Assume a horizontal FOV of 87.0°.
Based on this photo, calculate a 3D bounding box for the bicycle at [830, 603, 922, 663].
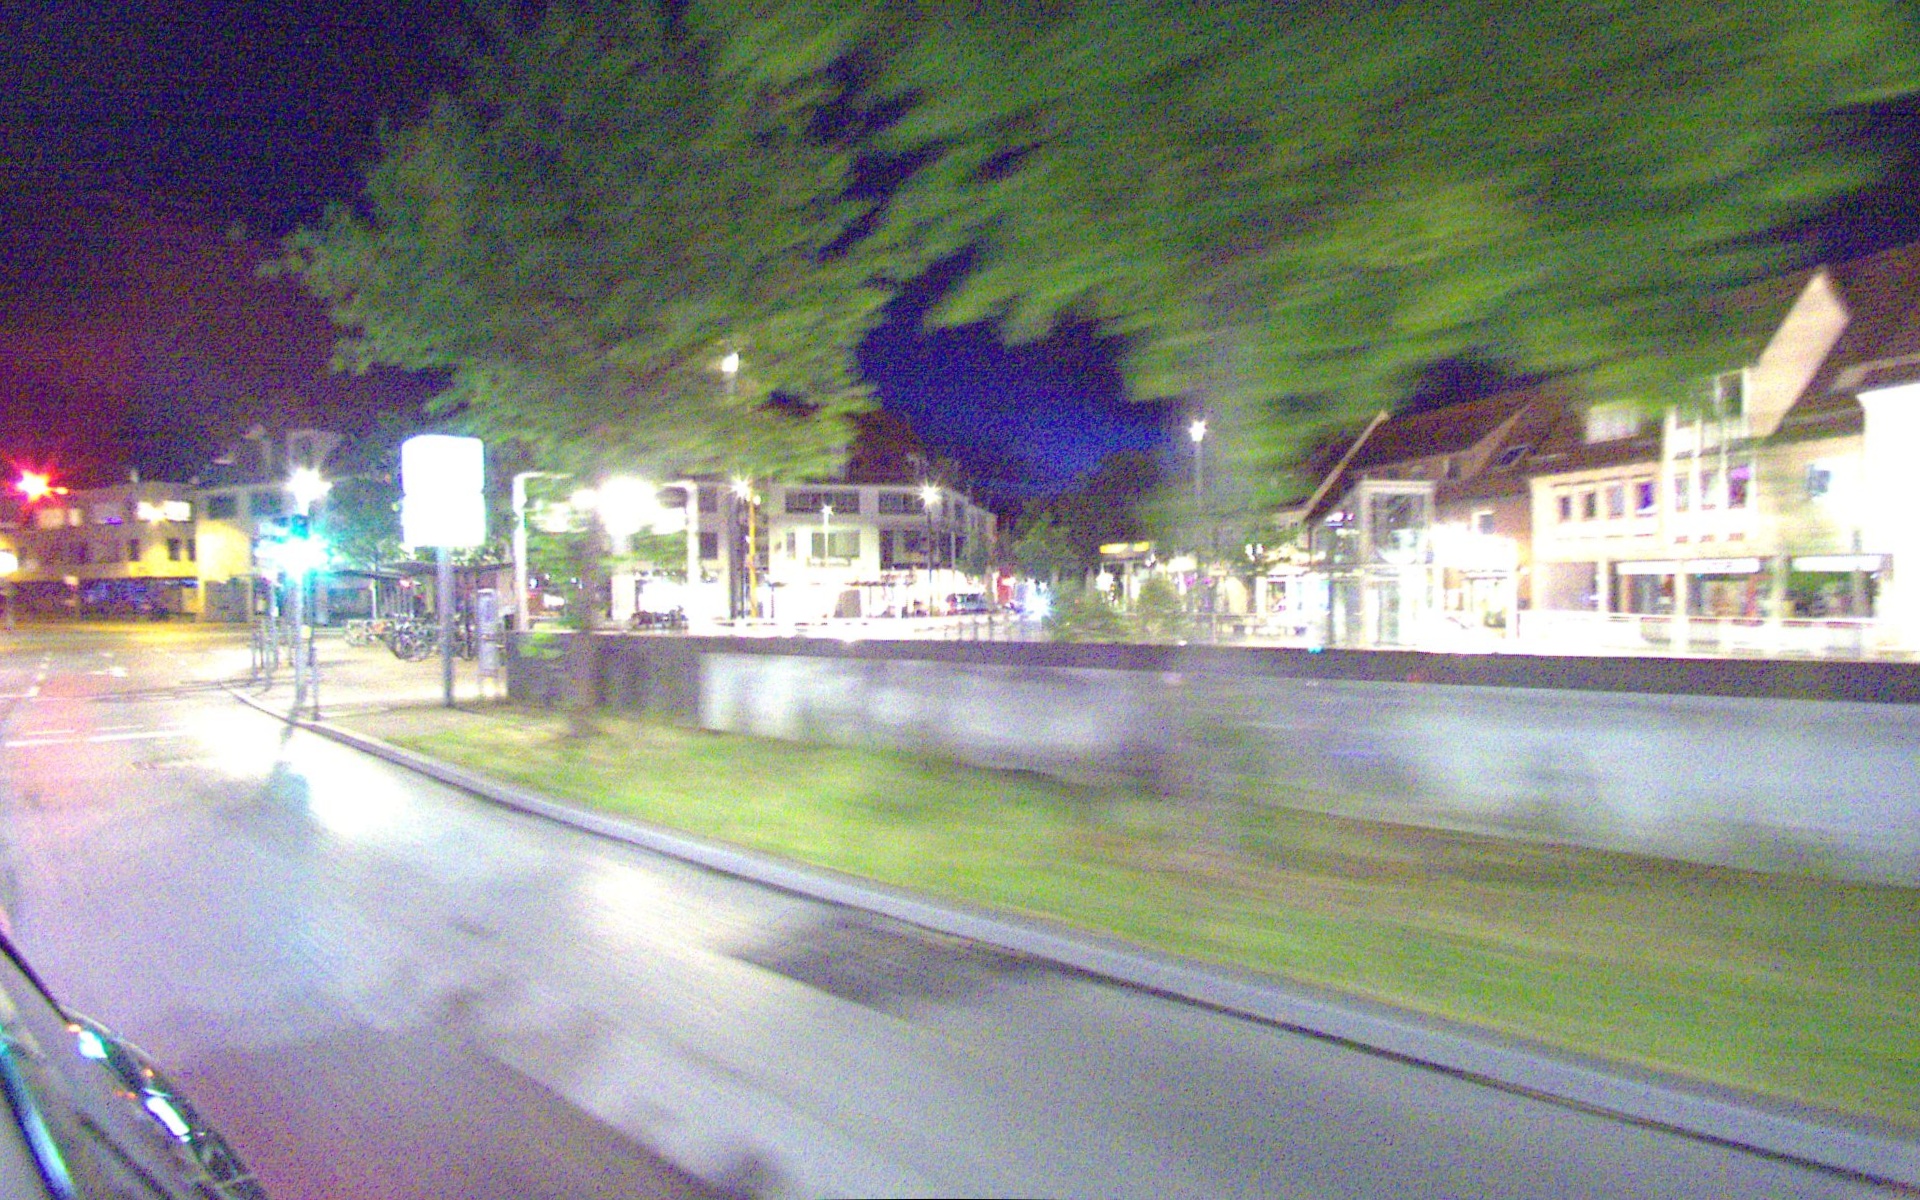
[{"bbox_3d":[-1.694,0.659,20.351,1.732,1.174,0.605,-1,-1,17],"label":"bicycle"}]

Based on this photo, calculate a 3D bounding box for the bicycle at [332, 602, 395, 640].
[{"bbox_3d":[-21.113,0.731,35.847,1.810,1.166,0.789,-4,3,-36],"label":"bicycle"}]

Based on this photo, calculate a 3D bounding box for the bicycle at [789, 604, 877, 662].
[{"bbox_3d":[-2.665,0.691,21.297,1.732,1.174,0.605,-1,-1,17],"label":"bicycle"}]

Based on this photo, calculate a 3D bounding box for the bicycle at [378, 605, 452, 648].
[{"bbox_3d":[-15.452,0.738,28.706,1.747,1.173,0.671,-1,0,-41],"label":"bicycle"}]

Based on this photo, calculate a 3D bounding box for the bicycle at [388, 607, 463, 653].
[{"bbox_3d":[-13.894,0.769,26.317,1.596,1.114,0.671,-2,2,-41],"label":"bicycle"}]

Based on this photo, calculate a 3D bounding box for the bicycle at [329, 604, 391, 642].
[{"bbox_3d":[-20.485,0.771,34.547,1.712,1.166,0.789,-4,3,-36],"label":"bicycle"}]

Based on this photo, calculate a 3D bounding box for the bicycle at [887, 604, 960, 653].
[{"bbox_3d":[-0.896,0.692,24.581,1.741,1.174,0.602,-1,-1,32],"label":"bicycle"}]

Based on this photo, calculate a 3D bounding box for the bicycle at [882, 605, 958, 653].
[{"bbox_3d":[-0.948,0.684,23.851,1.741,1.109,0.602,-1,-1,32],"label":"bicycle"}]

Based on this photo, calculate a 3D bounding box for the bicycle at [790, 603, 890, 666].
[{"bbox_3d":[-2.279,0.657,19.289,1.732,1.171,0.757,-1,-1,17],"label":"bicycle"}]

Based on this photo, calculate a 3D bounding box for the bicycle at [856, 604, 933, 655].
[{"bbox_3d":[-1.516,0.675,23.217,1.741,1.133,0.602,-1,-1,32],"label":"bicycle"}]

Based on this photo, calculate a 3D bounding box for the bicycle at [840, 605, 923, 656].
[{"bbox_3d":[-1.720,0.673,22.214,1.730,1.078,0.606,-1,-1,14],"label":"bicycle"}]

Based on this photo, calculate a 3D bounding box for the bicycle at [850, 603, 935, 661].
[{"bbox_3d":[-1.418,0.663,21.181,1.741,1.174,0.602,-2,-1,32],"label":"bicycle"}]

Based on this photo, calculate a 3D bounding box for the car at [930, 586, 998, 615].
[{"bbox_3d":[0.280,0.026,71.571,4.341,1.951,1.967,-1,-1,-26],"label":"car"}]

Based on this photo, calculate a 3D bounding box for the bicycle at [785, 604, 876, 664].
[{"bbox_3d":[-2.577,0.677,20.118,1.732,1.163,0.542,-1,-1,17],"label":"bicycle"}]

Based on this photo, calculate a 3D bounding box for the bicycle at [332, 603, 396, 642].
[{"bbox_3d":[-19.889,0.726,33.764,1.712,1.175,0.789,-4,2,-36],"label":"bicycle"}]

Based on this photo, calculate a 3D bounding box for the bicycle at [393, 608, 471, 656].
[{"bbox_3d":[-13.157,0.781,25.224,1.596,1.114,0.671,-2,2,-41],"label":"bicycle"}]

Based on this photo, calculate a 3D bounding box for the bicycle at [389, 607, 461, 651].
[{"bbox_3d":[-14.258,0.759,26.999,1.596,1.114,0.671,-1,2,-41],"label":"bicycle"}]

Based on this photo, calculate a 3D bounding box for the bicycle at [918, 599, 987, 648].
[{"bbox_3d":[-0.194,0.613,26.376,1.741,1.228,0.602,-1,-1,32],"label":"bicycle"}]
